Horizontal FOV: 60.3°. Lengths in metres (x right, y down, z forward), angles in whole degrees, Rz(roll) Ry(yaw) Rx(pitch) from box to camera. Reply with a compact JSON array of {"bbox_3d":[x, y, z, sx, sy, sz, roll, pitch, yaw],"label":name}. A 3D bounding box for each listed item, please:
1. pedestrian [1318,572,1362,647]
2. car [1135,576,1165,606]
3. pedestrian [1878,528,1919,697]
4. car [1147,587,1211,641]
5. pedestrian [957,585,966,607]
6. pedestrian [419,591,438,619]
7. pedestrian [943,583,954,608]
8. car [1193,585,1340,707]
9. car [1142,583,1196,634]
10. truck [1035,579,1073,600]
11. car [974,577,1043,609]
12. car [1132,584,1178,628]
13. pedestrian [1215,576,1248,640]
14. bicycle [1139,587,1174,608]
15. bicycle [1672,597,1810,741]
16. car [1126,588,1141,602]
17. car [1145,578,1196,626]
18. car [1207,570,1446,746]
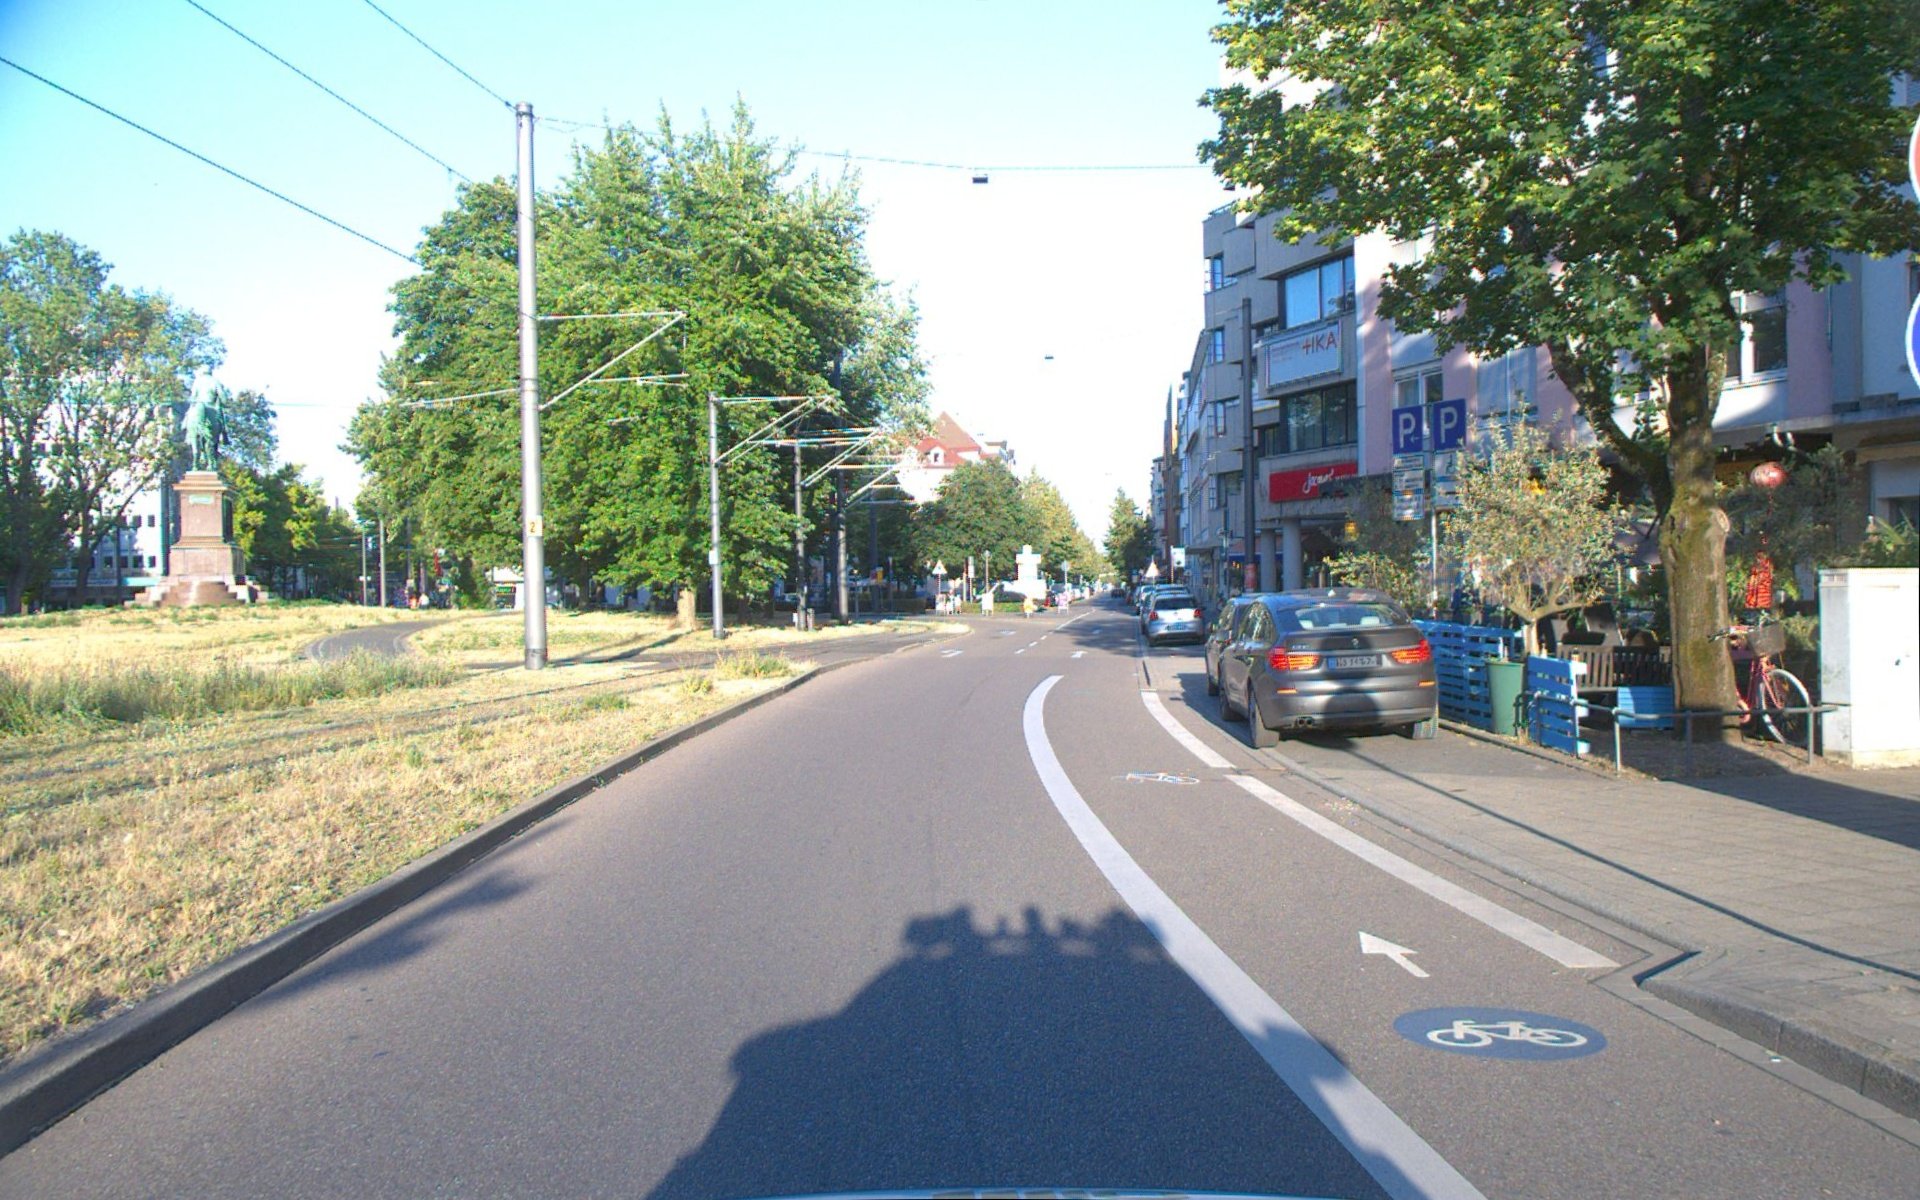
[{"bbox_3d":[8.464,0.209,36.852,0.629,1.655,0.853,0,0,-18],"label":"pedestrian"},{"bbox_3d":[11.633,-0.546,101.620,1.754,1.823,4.094,-1,0,6],"label":"car"},{"bbox_3d":[10.339,0.114,17.439,0.880,1.756,0.768,-2,1,-26],"label":"pedestrian"},{"bbox_3d":[6.416,0.383,48.541,1.747,1.481,4.003,-1,0,7],"label":"car"},{"bbox_3d":[0.072,-0.238,105.694,0.551,1.388,0.614,0,0,-2],"label":"pedestrian"},{"bbox_3d":[-36.457,0.338,113.459,0.843,1.872,0.997,0,2,6],"label":"pedestrian"},{"bbox_3d":[-0.707,-0.316,105.550,0.683,1.586,0.694,0,0,-2],"label":"pedestrian"},{"bbox_3d":[4.264,0.578,23.513,1.616,1.561,4.069,0,1,4],"label":"car"},{"bbox_3d":[6.801,0.253,54.009,1.551,1.618,3.670,0,1,4],"label":"car"},{"bbox_3d":[12.291,-1.353,215.902,4.836,2.661,2.001,-1,0,5],"label":"truck"},{"bbox_3d":[3.531,-0.505,119.629,4.533,2.290,2.189,0,0,-22],"label":"car"},{"bbox_3d":[7.044,0.190,59.922,1.606,1.555,4.003,0,1,6],"label":"car"},{"bbox_3d":[7.673,0.218,46.780,0.629,1.817,0.853,0,0,-18],"label":"pedestrian"},{"bbox_3d":[10.649,-0.122,89.674,1.754,1.007,0.541,-4,1,29],"label":"bicycle"},{"bbox_3d":[7.233,0.601,15.417,0.437,1.231,2.084,0,1,4],"label":"bicycle"},{"bbox_3d":[20.185,-0.600,192.538,1.544,1.569,3.398,-3,-1,3],"label":"car"},{"bbox_3d":[8.225,0.048,65.018,1.746,1.836,4.404,0,1,4],"label":"car"},{"bbox_3d":[3.897,0.527,18.373,1.767,1.699,4.814,0,1,2],"label":"car"}]
